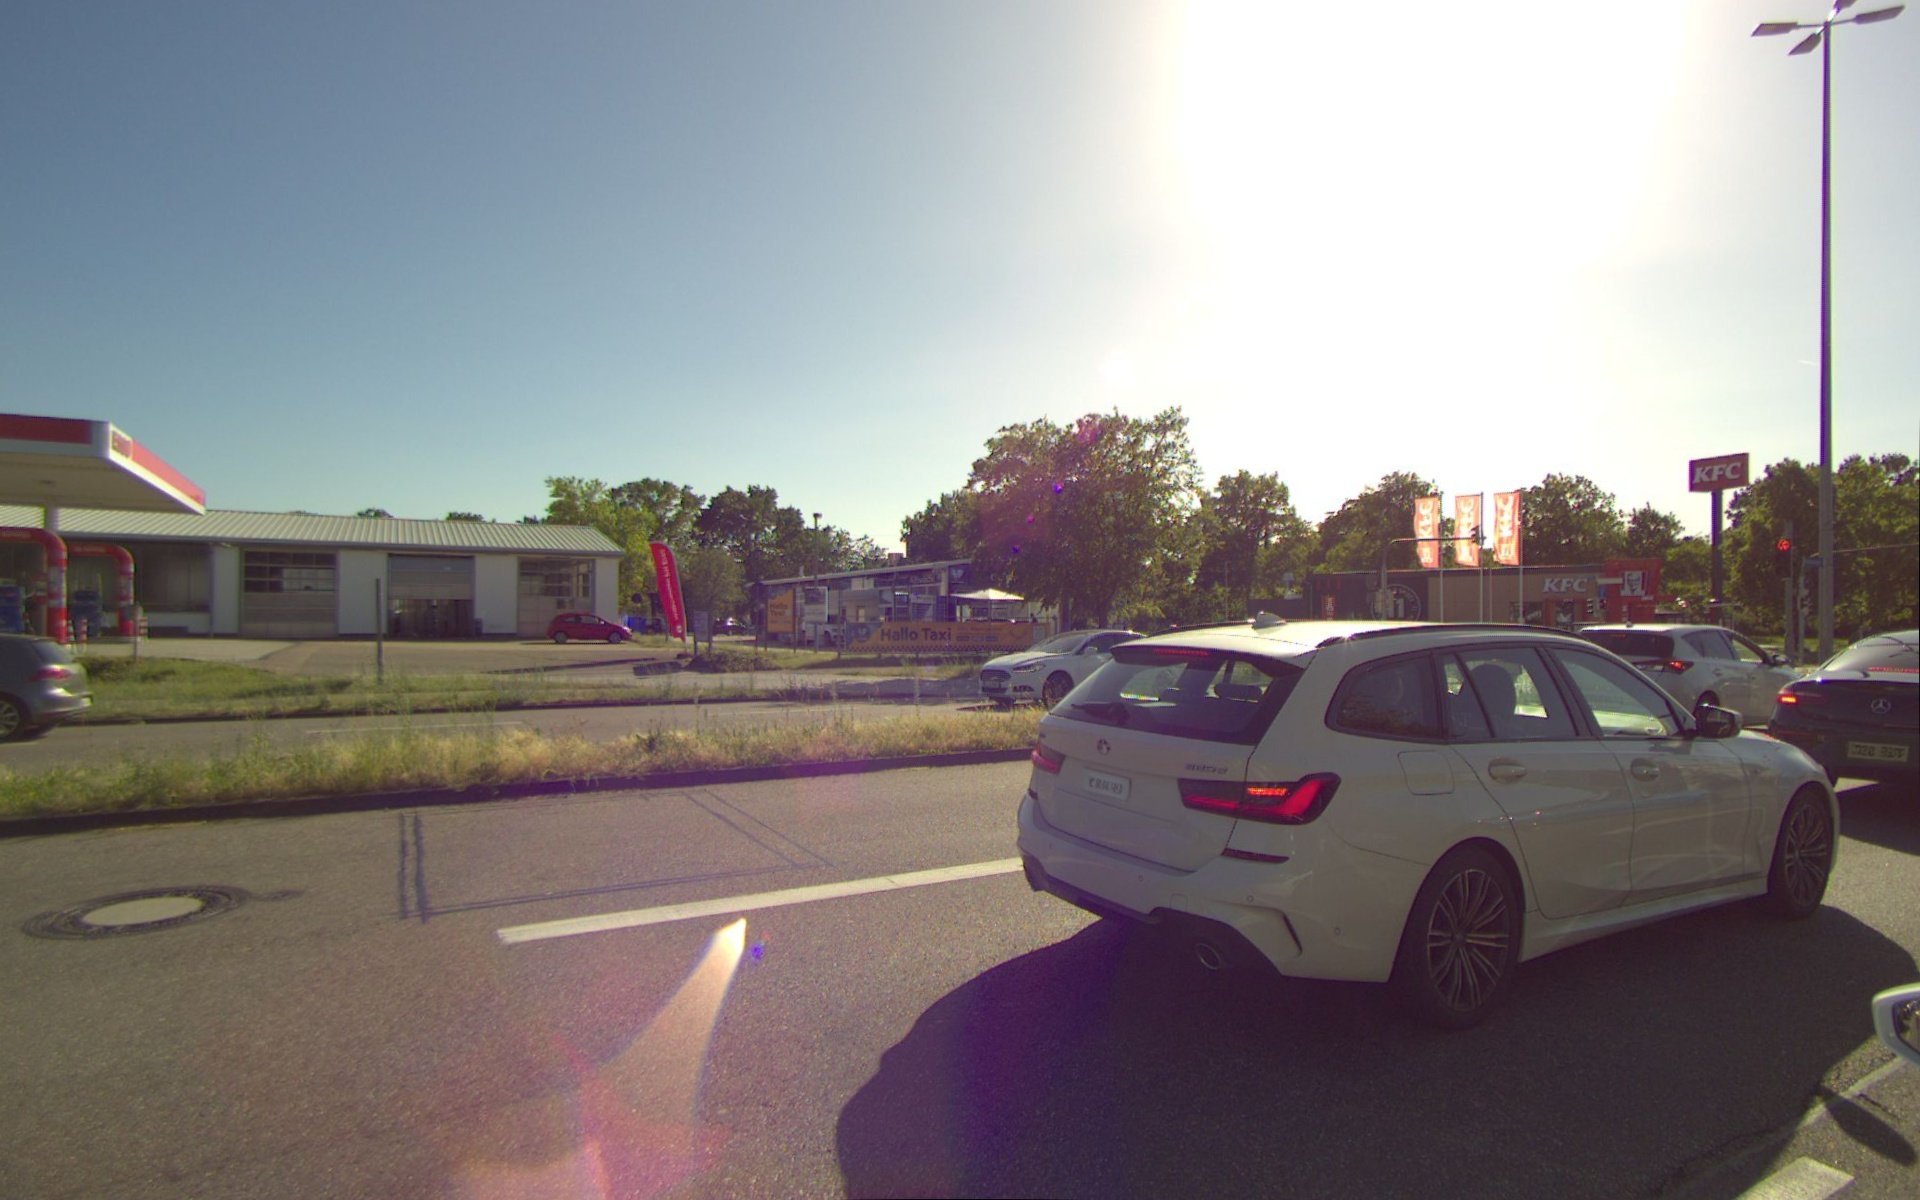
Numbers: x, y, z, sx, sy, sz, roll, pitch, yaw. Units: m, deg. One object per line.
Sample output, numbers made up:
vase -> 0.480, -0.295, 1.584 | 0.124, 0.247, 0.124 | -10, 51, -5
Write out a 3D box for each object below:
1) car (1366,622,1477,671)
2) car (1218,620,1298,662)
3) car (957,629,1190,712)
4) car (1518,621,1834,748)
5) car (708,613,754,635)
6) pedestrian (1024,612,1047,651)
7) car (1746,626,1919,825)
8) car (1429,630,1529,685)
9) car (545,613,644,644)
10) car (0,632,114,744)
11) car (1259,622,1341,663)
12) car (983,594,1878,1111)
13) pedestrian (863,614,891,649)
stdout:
car -> 19.156, 1.896, 41.912 | 1.966, 1.869, 4.278 | 1, -1, -14
car -> 15.313, 2.090, 51.859 | 1.970, 2.040, 3.980 | 1, -1, -21
car -> 2.357, 1.327, 20.222 | 4.691, 1.448, 1.844 | 1, -1, -37
car -> 9.653, 1.026, 13.474 | 4.352, 1.448, 1.848 | 1, -1, -30
car -> -20.035, 2.121, 87.959 | 2.085, 1.840, 4.000 | 0, -1, 20
pedestrian -> 3.514, 1.456, 46.928 | 0.804, 1.828, 0.951 | 1, 0, -13
car -> 8.799, 0.961, 8.622 | 4.409, 1.433, 1.760 | 1, -1, -30
car -> 16.725, 1.770, 32.248 | 1.836, 1.564, 4.713 | 0, -1, 40
car -> -18.019, 1.413, 49.550 | 4.486, 1.458, 1.741 | 1, -1, -26
car -> -13.952, 1.160, 13.225 | 4.003, 1.448, 1.810 | 1, -3, -30
car -> 18.281, 2.247, 54.131 | 1.975, 2.040, 3.972 | 1, -1, -27
car -> 2.440, 0.793, 4.867 | 4.409, 1.529, 1.760 | 1, -1, -30
pedestrian -> -4.270, 1.619, 51.637 | 1.136, 1.787, 1.100 | 0, -1, 16
